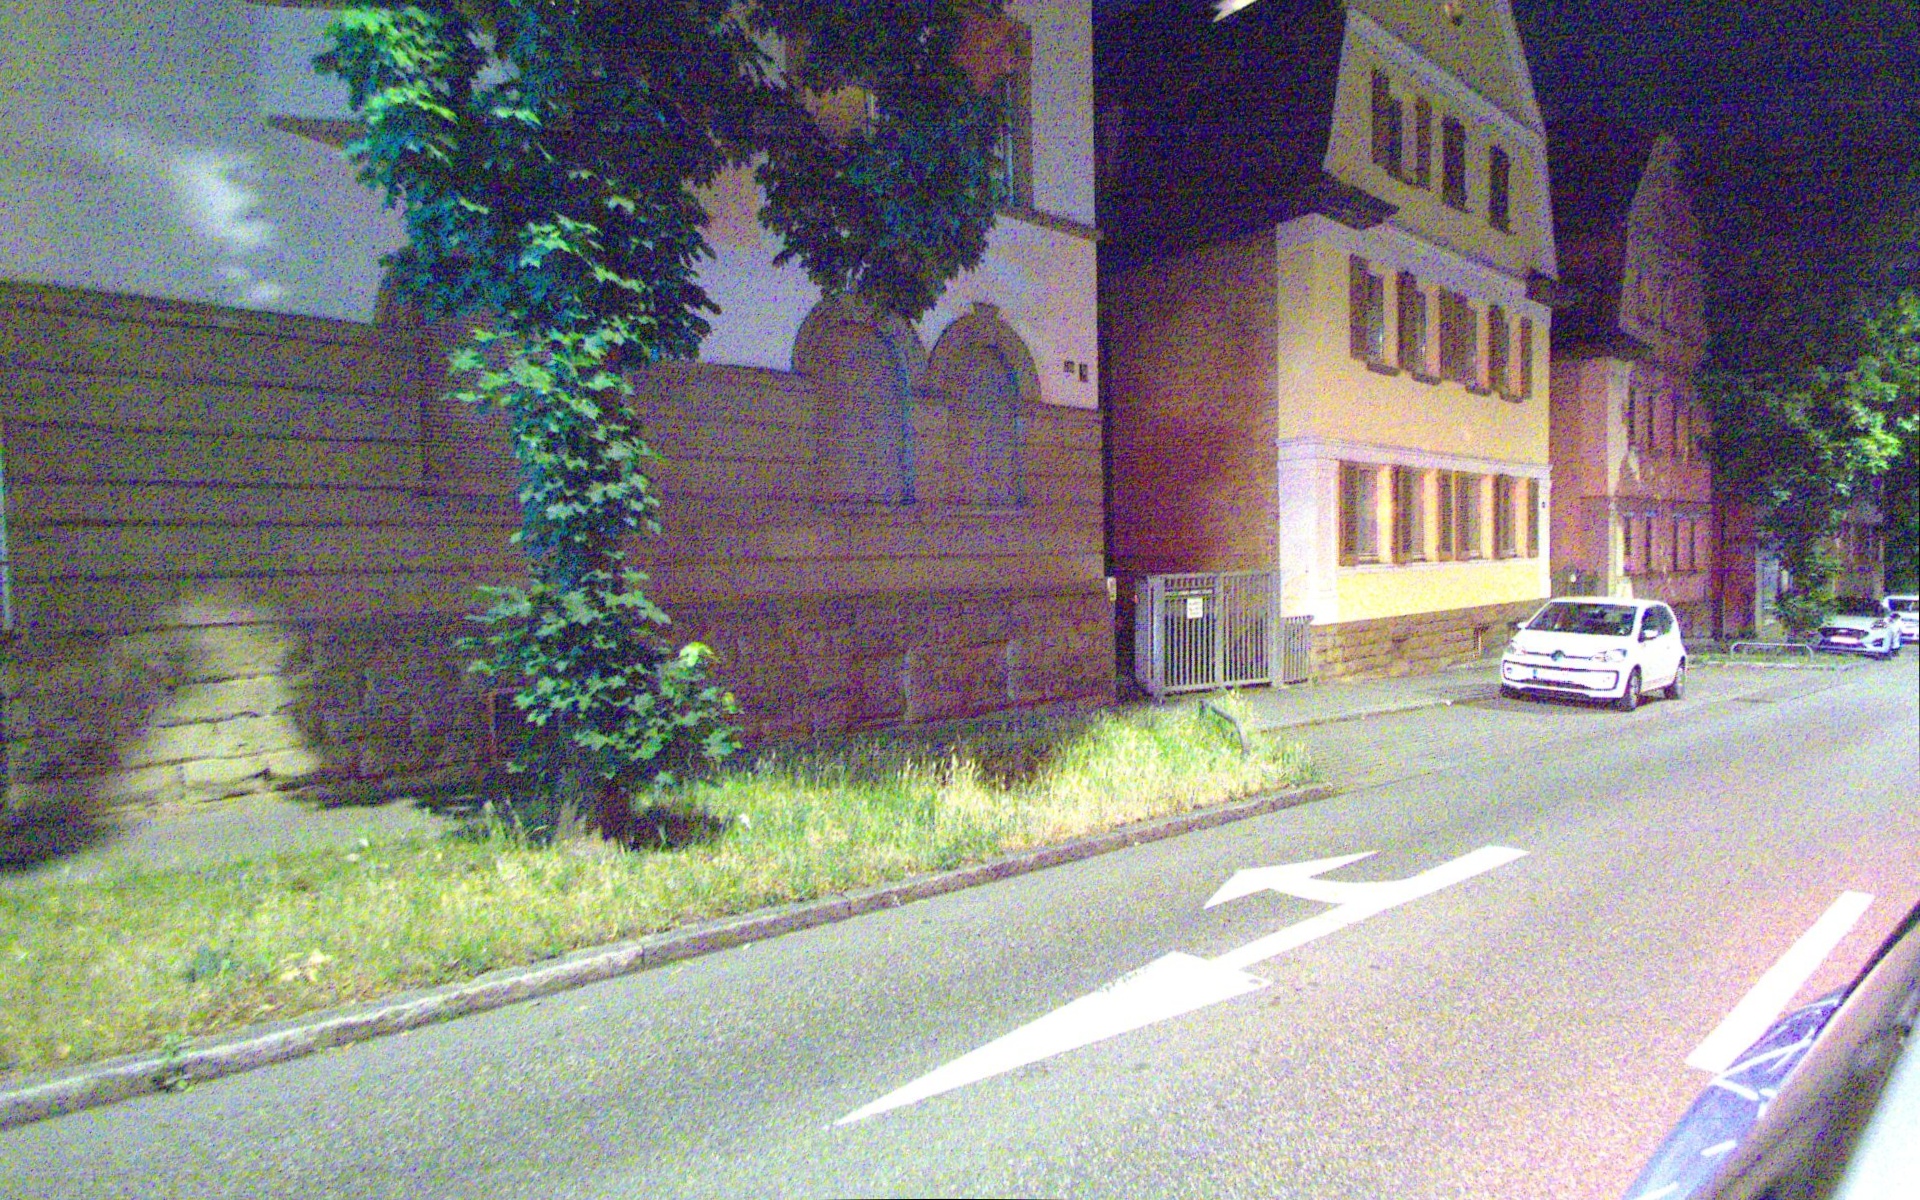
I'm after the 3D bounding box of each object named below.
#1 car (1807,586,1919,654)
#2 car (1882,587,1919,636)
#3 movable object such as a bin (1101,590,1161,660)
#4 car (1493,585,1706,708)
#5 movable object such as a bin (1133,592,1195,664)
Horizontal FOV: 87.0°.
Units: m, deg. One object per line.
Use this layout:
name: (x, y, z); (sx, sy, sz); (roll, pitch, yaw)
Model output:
car: (23.805, 0.471, 26.576); (3.977, 1.572, 1.862); (0, 3, -43)
car: (33.787, 0.391, 35.346); (4.281, 1.616, 1.742); (0, 3, -40)
movable object such as a bin: (2.685, 0.380, 15.886); (0.742, 1.062, 0.608); (0, 0, -41)
car: (9.321, 0.578, 14.655); (3.541, 1.503, 1.671); (0, 2, -42)
movable object such as a bin: (3.110, 0.416, 15.409); (0.742, 1.062, 0.608); (0, 0, -41)
